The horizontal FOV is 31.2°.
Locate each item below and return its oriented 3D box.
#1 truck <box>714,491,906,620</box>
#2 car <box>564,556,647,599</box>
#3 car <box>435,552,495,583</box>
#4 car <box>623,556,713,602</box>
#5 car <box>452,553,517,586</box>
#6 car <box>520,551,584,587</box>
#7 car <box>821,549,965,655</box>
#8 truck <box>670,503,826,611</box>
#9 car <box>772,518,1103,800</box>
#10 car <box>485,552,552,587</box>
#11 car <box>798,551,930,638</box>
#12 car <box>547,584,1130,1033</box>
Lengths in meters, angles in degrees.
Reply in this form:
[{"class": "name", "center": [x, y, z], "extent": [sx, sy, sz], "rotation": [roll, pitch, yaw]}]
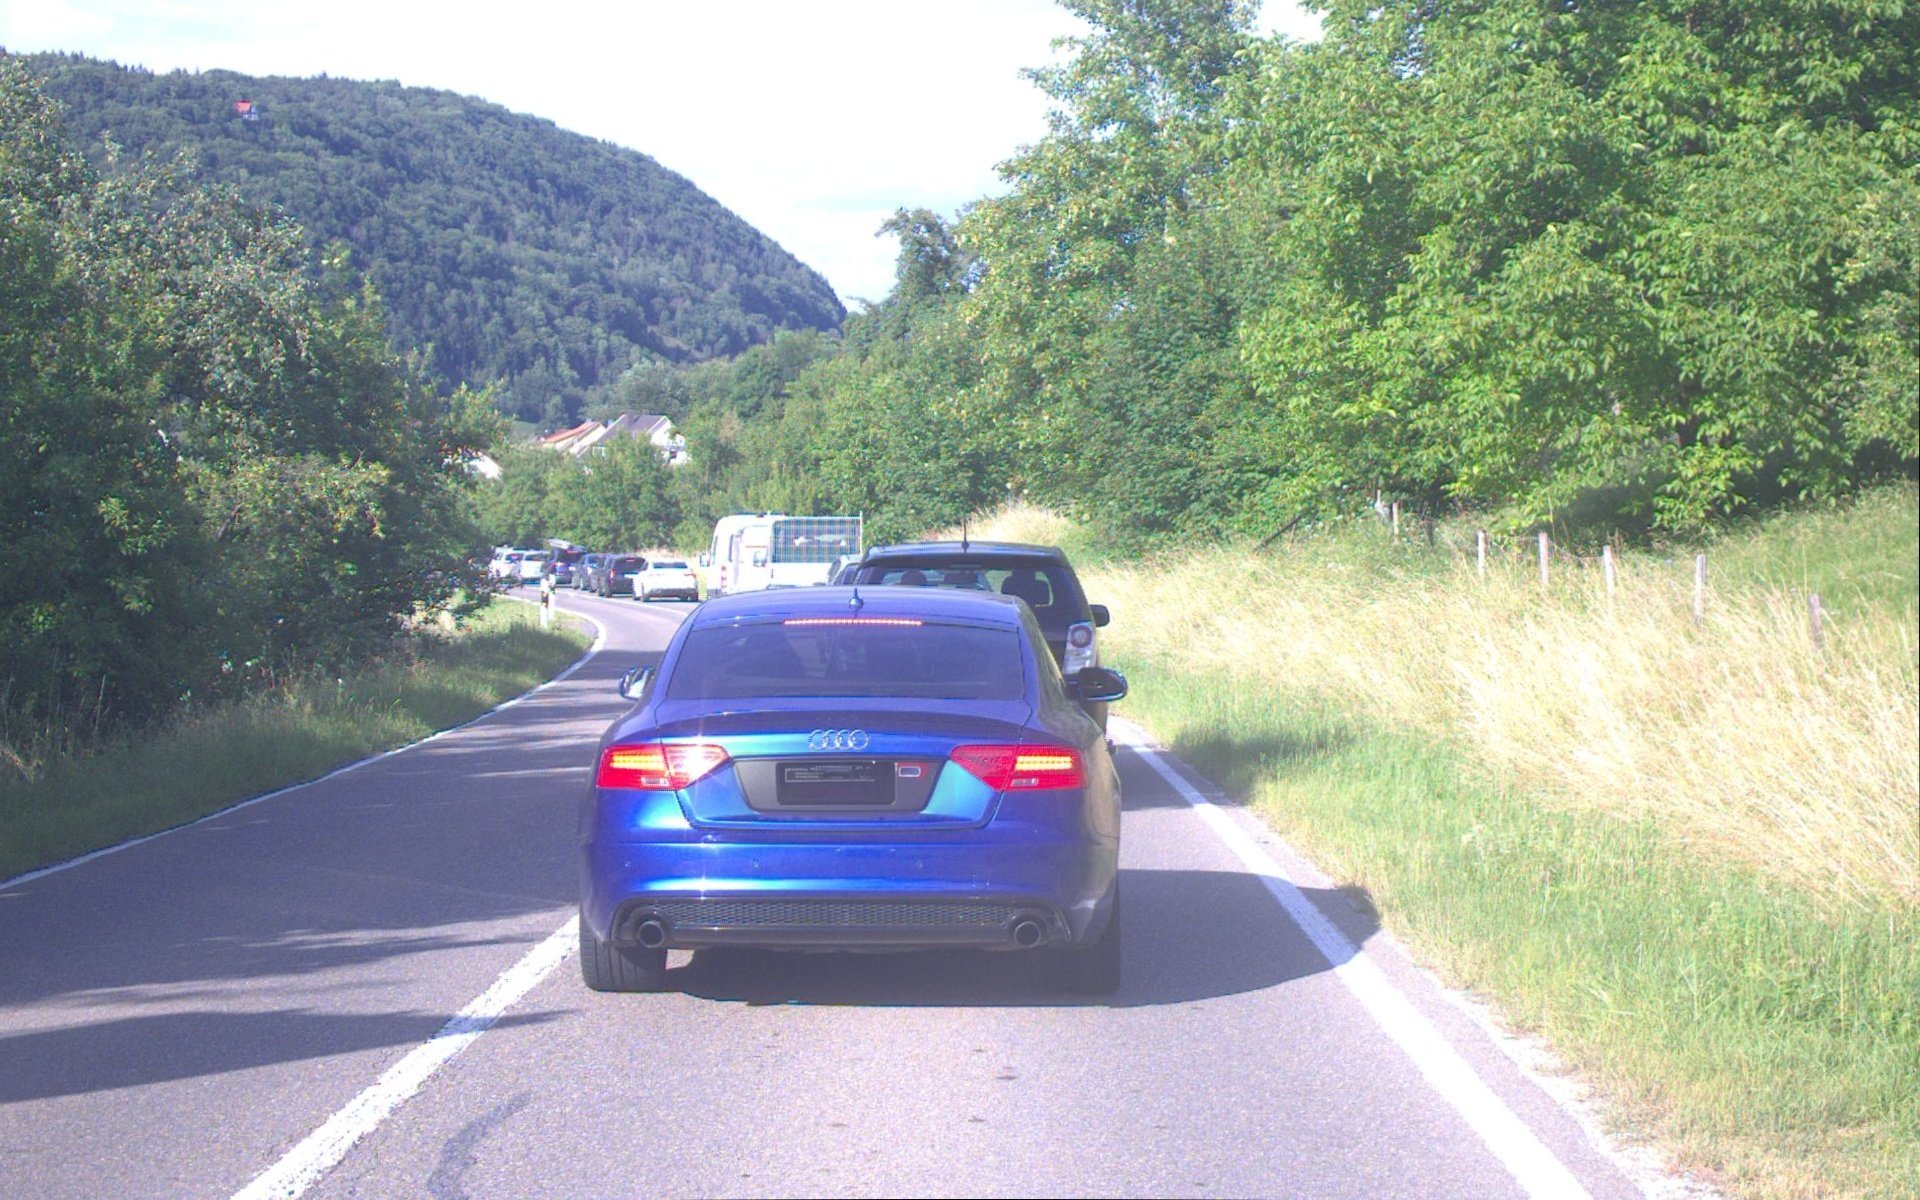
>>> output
[{"class": "truck", "center": [-3.482, -0.988, 76.692], "extent": [2.863, 2.656, 10.396], "rotation": [1, 1, -10]}, {"class": "car", "center": [-12.521, -0.800, 121.144], "extent": [1.993, 1.477, 4.001], "rotation": [0, 0, -20]}, {"class": "car", "center": [-24.217, -1.584, 168.081], "extent": [1.993, 1.477, 4.001], "rotation": [0, 0, -22]}, {"class": "car", "center": [-9.654, -0.705, 113.397], "extent": [1.993, 1.477, 4.001], "rotation": [0, 0, -20]}, {"class": "car", "center": [-21.712, -1.403, 156.917], "extent": [1.993, 1.477, 4.001], "rotation": [0, 0, -22]}, {"class": "car", "center": [-16.892, -1.278, 142.136], "extent": [1.993, 1.477, 4.001], "rotation": [1, 0, -16]}, {"class": "car", "center": [-0.944, 0.013, 50.510], "extent": [1.993, 1.477, 4.000], "rotation": [1, 0, 0]}, {"class": "truck", "center": [-5.704, -1.127, 90.766], "extent": [2.863, 2.656, 10.648], "rotation": [1, 1, -10]}, {"class": "car", "center": [-0.123, 0.349, 22.914], "extent": [1.993, 1.696, 4.000], "rotation": [1, 0, 0]}, {"class": "car", "center": [-19.370, -1.322, 150.667], "extent": [1.993, 1.477, 4.001], "rotation": [0, 0, -22]}, {"class": "car", "center": [-1.754, -0.106, 61.263], "extent": [1.993, 1.477, 4.001], "rotation": [1, 0, -7]}, {"class": "car", "center": [-0.329, 0.634, 12.630], "extent": [1.794, 1.355, 4.000], "rotation": [0, 0, 1]}]
